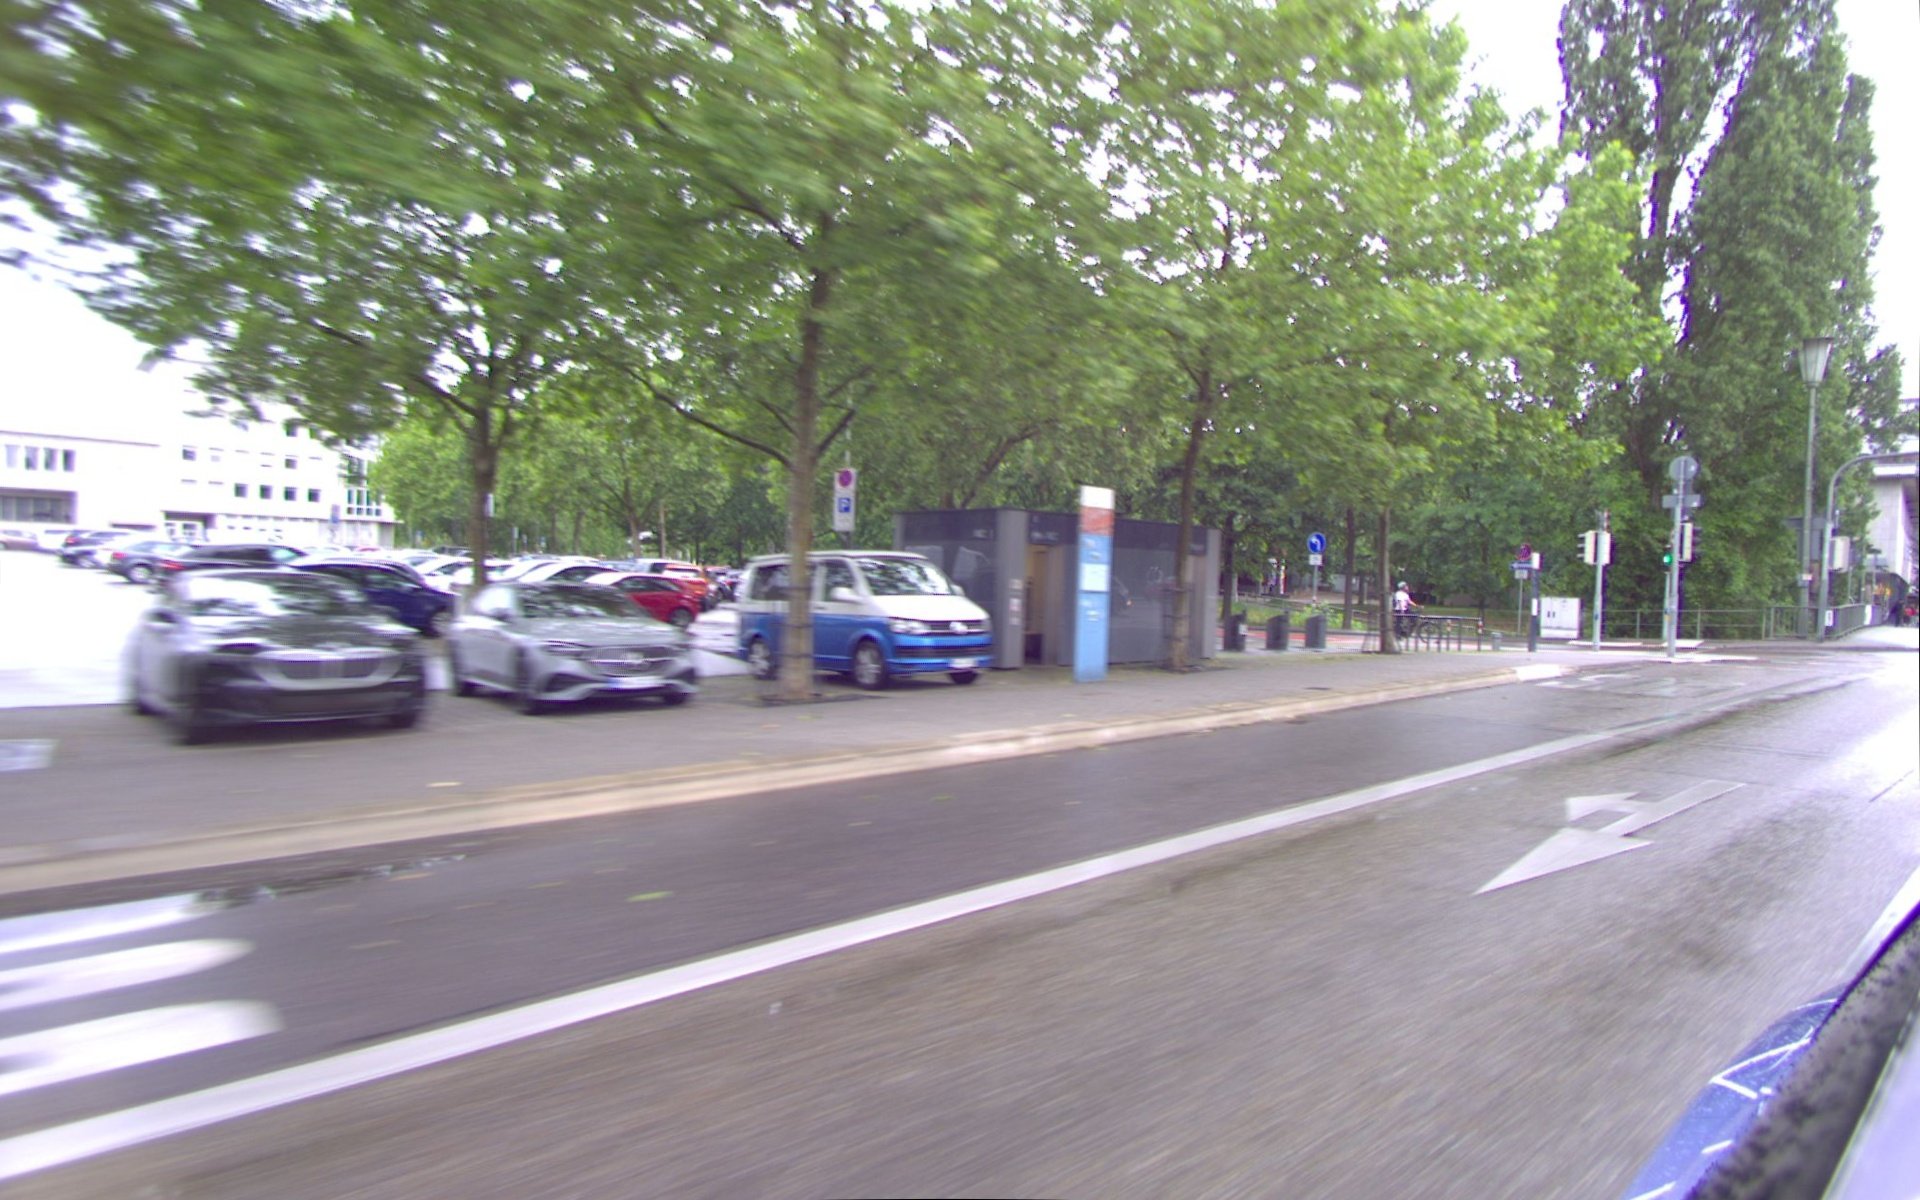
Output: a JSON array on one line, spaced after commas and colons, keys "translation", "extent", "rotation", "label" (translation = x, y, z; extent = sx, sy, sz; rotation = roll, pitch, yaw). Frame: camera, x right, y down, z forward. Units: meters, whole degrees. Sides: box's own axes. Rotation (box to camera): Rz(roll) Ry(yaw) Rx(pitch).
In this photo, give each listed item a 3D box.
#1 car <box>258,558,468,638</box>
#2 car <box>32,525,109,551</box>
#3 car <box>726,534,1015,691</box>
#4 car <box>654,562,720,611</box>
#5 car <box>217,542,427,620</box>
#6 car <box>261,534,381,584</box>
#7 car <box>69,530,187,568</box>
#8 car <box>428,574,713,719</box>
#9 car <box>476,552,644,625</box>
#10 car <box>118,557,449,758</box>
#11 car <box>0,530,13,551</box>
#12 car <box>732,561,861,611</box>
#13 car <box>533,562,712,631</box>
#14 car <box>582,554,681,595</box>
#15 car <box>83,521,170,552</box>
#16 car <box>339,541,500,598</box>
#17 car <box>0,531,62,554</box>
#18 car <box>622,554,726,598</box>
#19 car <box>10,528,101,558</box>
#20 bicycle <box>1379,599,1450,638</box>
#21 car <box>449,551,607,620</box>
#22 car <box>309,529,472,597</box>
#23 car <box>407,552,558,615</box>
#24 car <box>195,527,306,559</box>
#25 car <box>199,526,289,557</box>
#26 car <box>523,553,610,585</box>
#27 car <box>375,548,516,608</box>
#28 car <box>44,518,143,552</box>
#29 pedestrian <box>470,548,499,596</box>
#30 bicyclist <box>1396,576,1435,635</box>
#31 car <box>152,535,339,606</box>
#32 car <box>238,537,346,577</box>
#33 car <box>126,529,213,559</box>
[{"translation": [-11.804, -0.071, 20.115], "extent": [1.636, 1.439, 3.302], "rotation": [3, 2, 44], "label": "car"}, {"translation": [-61.524, -4.260, 70.019], "extent": [1.636, 1.566, 3.867], "rotation": [2, 1, 44], "label": "car"}, {"translation": [-1.517, 0.177, 15.190], "extent": [1.916, 1.967, 4.844], "rotation": [0, -1, -40], "label": "car"}, {"translation": [-9.572, -0.526, 35.743], "extent": [1.718, 1.601, 4.007], "rotation": [2, 2, -7], "label": "car"}, {"translation": [-15.094, -0.421, 24.042], "extent": [3.980, 1.584, 1.617], "rotation": [3, 2, -40], "label": "car"}, {"translation": [-23.981, -1.524, 38.030], "extent": [3.550, 1.612, 1.530], "rotation": [3, 2, -44], "label": "car"}, {"translation": [-32.785, -1.989, 39.930], "extent": [1.525, 1.251, 3.309], "rotation": [5, 2, 38], "label": "car"}, {"translation": [-4.929, 0.468, 12.359], "extent": [1.829, 1.423, 4.747], "rotation": [0, 0, -40], "label": "car"}, {"translation": [-10.022, -0.261, 25.484], "extent": [3.549, 1.612, 1.570], "rotation": [3, 2, -43], "label": "car"}, {"translation": [-6.694, 0.423, 9.799], "extent": [4.401, 1.503, 1.833], "rotation": [0, 0, 45], "label": "car"}, {"translation": [-73.923, -4.521, 76.155], "extent": [1.636, 1.566, 3.867], "rotation": [2, 1, 44], "label": "car"}, {"translation": [-5.840, -0.498, 36.524], "extent": [4.371, 1.709, 1.778], "rotation": [0, 1, -44], "label": "car"}, {"translation": [-8.016, -0.052, 24.304], "extent": [1.527, 1.445, 3.779], "rotation": [5, 2, 41], "label": "car"}, {"translation": [-14.589, -1.111, 45.080], "extent": [3.817, 1.709, 1.778], "rotation": [0, 1, -44], "label": "car"}, {"translation": [-41.719, -3.172, 50.720], "extent": [3.295, 1.251, 1.531], "rotation": [3, 2, -40], "label": "car"}, {"translation": [-18.957, -1.060, 35.617], "extent": [1.967, 1.690, 4.558], "rotation": [5, 2, 43], "label": "car"}, {"translation": [-69.147, -4.240, 74.911], "extent": [1.636, 1.566, 3.867], "rotation": [2, 1, 44], "label": "car"}, {"translation": [-11.892, -0.981, 42.184], "extent": [3.817, 1.709, 1.778], "rotation": [0, 1, -44], "label": "car"}, {"translation": [-52.724, -3.278, 59.057], "extent": [1.636, 1.566, 3.867], "rotation": [2, 1, 44], "label": "car"}, {"translation": [14.088, 0.559, 31.390], "extent": [1.918, 1.108, 0.643], "rotation": [3, 2, 31], "label": "bicycle"}, {"translation": [-11.590, -0.372, 27.243], "extent": [3.545, 1.612, 1.531], "rotation": [3, 2, -40], "label": "car"}, {"translation": [-20.920, -1.336, 37.326], "extent": [1.967, 2.181, 4.807], "rotation": [5, 2, 43], "label": "car"}, {"translation": [-13.728, -0.463, 29.190], "extent": [3.572, 1.577, 1.529], "rotation": [3, 2, -44], "label": "car"}, {"translation": [-36.455, -2.903, 52.082], "extent": [1.636, 1.441, 4.437], "rotation": [2, 1, 44], "label": "car"}, {"translation": [-39.721, -3.220, 56.211], "extent": [1.636, 1.566, 3.867], "rotation": [2, 1, 44], "label": "car"}, {"translation": [-18.825, -1.484, 48.499], "extent": [3.539, 1.441, 1.636], "rotation": [0, 1, -44], "label": "car"}, {"translation": [-15.862, -0.665, 31.311], "extent": [3.550, 1.612, 1.530], "rotation": [3, 2, -44], "label": "car"}, {"translation": [-38.827, -2.896, 45.420], "extent": [3.295, 1.251, 1.531], "rotation": [3, 2, -40], "label": "car"}, {"translation": [-16.816, -0.989, 35.783], "extent": [0.727, 1.612, 0.575], "rotation": [3, 1, -43], "label": "pedestrian"}, {"translation": [14.140, 0.156, 31.385], "extent": [0.980, 1.792, 0.788], "rotation": [2, 2, 31], "label": "bicyclist"}, {"translation": [-17.708, -0.716, 25.182], "extent": [3.572, 1.523, 1.529], "rotation": [3, 2, -44], "label": "car"}, {"translation": [-27.809, -1.779, 42.173], "extent": [3.539, 1.536, 1.636], "rotation": [0, 1, -44], "label": "car"}, {"translation": [-46.875, -3.296, 60.052], "extent": [1.636, 1.566, 3.867], "rotation": [2, 1, 44], "label": "car"}]
